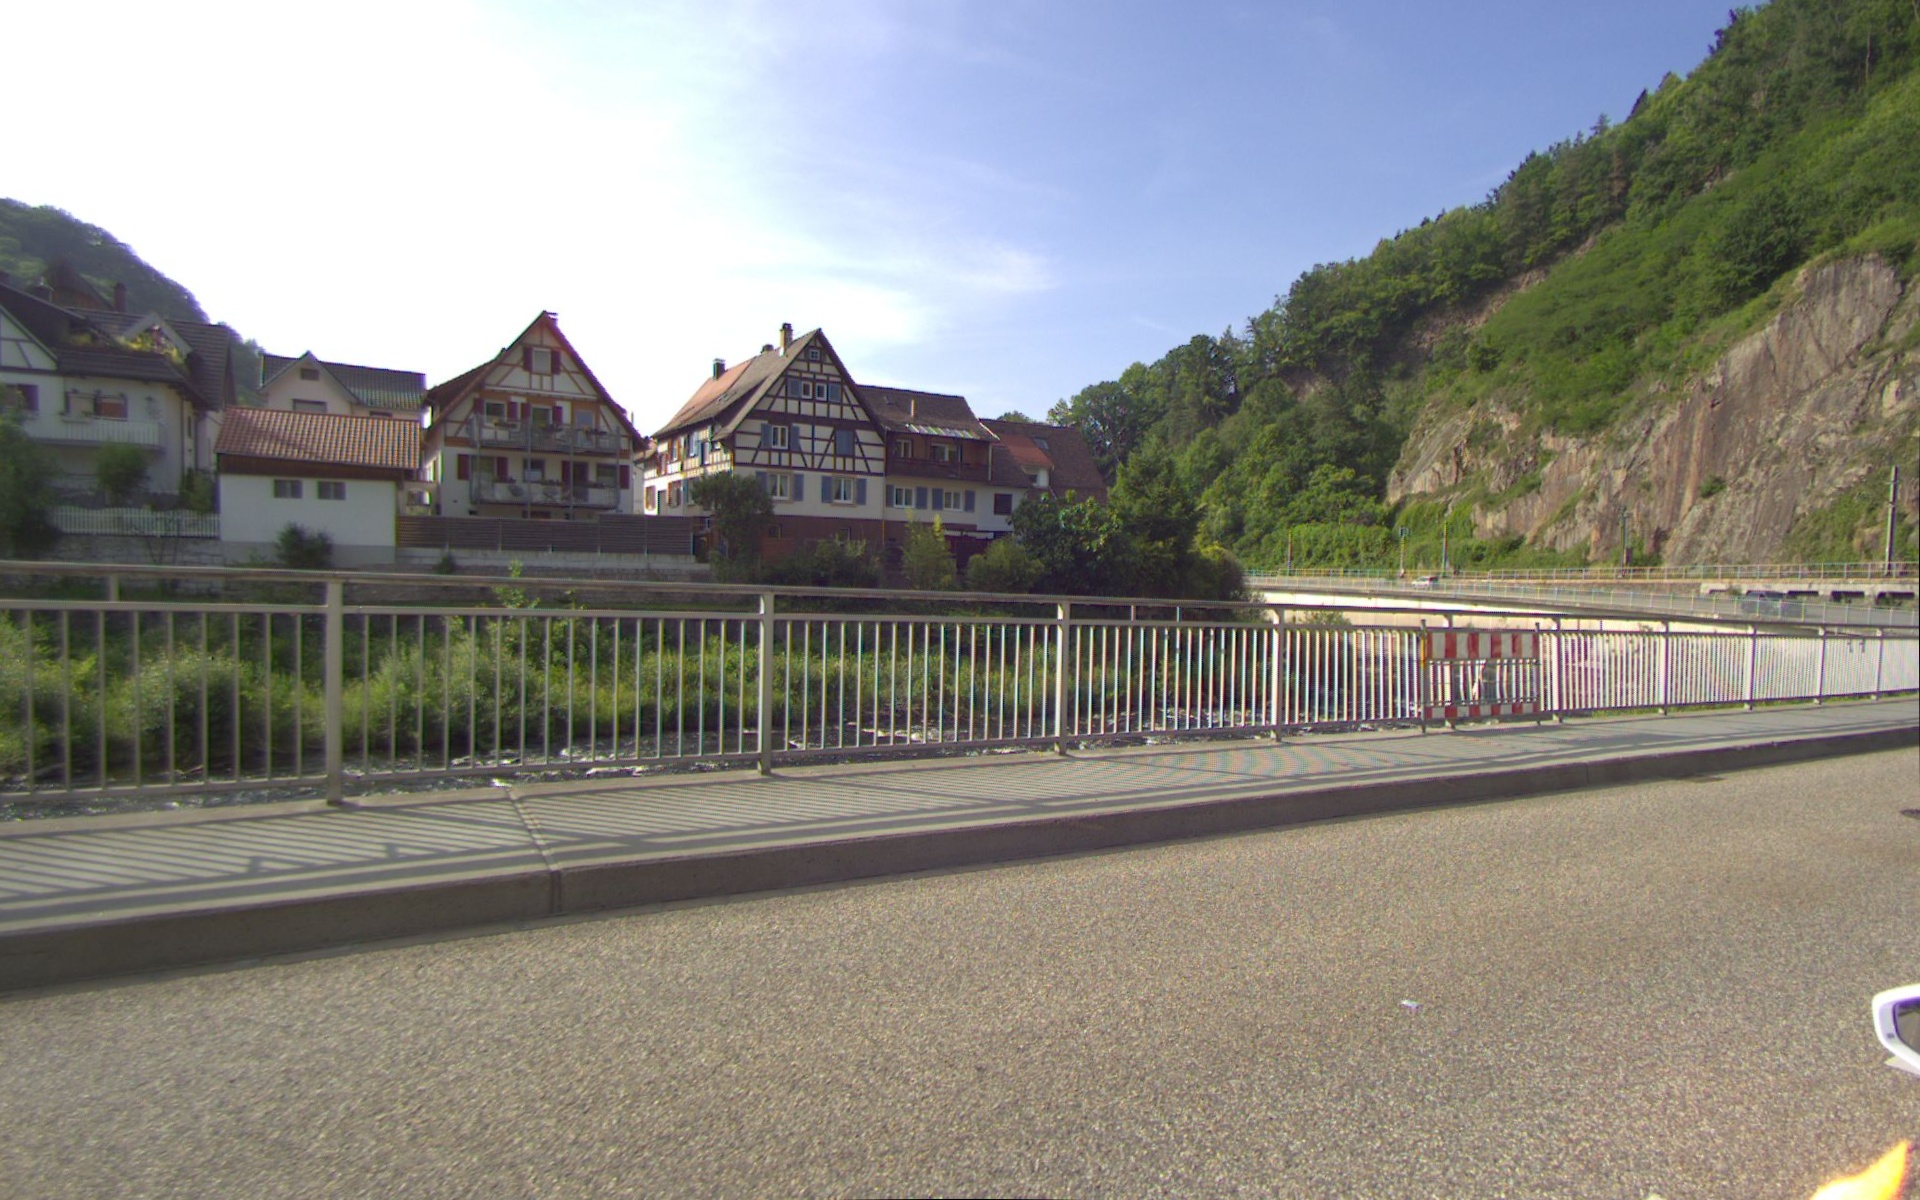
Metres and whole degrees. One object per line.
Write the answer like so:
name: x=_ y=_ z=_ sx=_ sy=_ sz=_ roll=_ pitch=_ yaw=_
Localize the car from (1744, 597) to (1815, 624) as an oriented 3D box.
car: x=53.631 y=0.662 z=65.799 sx=1.784 sy=1.665 sz=4.002 roll=2 pitch=1 yaw=9
